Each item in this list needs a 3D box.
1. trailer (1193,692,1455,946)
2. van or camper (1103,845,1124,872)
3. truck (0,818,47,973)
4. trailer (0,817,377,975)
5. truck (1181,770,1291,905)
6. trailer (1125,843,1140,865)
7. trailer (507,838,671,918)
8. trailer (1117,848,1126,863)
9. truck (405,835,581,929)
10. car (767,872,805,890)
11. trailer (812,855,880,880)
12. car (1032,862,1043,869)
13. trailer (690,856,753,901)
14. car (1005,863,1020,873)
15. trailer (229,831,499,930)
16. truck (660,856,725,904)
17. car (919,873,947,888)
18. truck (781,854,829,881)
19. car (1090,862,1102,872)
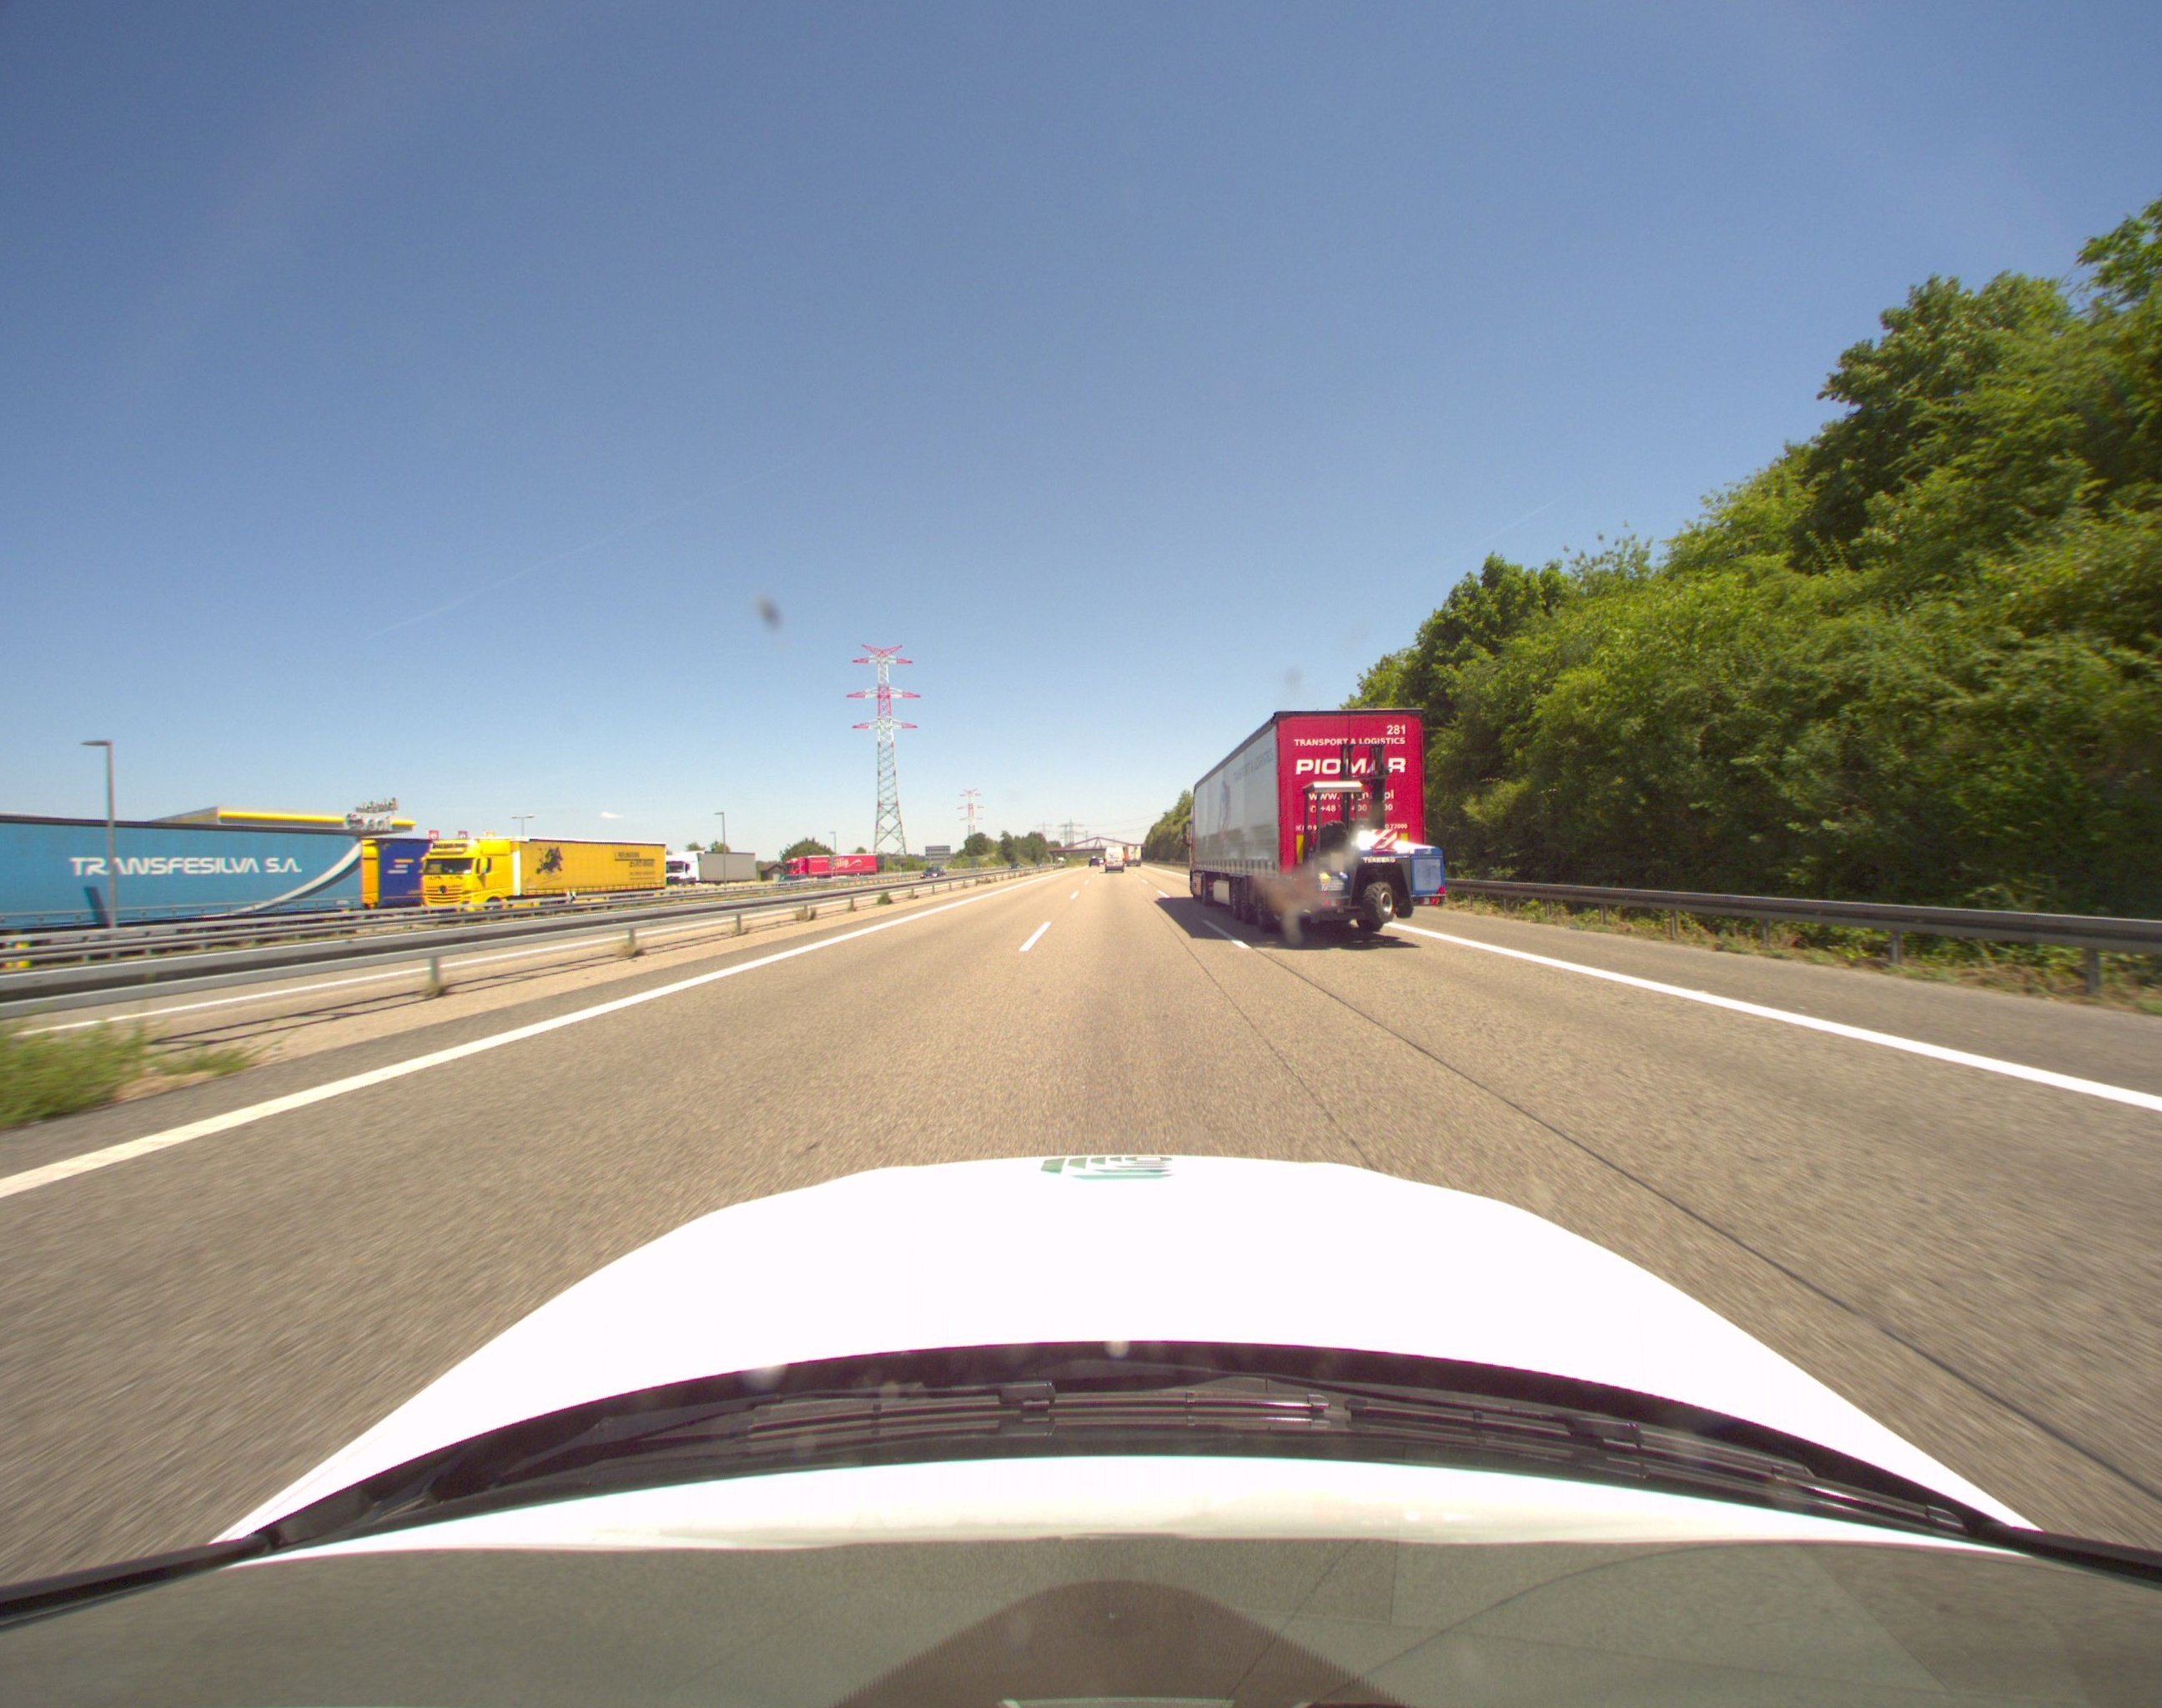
[{"bbox_3d":[4.748,-0.499,19.791,2.481,3.909,14.250,-1,0,2],"label":"trailer"},{"bbox_3d":[3.514,0.509,88.201,2.221,2.782,5.425,0,0,2],"label":"van or camper"},{"bbox_3d":[-29.851,1.063,18.765,2.839,4.073,7.090,0,0,1],"label":"truck"},{"bbox_3d":[-29.697,1.138,26.519,2.823,4.148,12.085,0,0,1],"label":"trailer"},{"bbox_3d":[4.976,-0.456,27.382,2.490,3.920,7.099,-1,-1,2],"label":"truck"},{"bbox_3d":[9.817,0.048,155.763,2.626,4.060,12.375,0,0,3],"label":"trailer"},{"bbox_3d":[-28.695,1.314,48.441,2.823,4.220,11.084,0,0,1],"label":"trailer"},{"bbox_3d":[10.970,0.409,220.610,2.626,3.897,7.074,0,0,3],"label":"trailer"},{"bbox_3d":[-28.828,1.275,40.499,2.823,4.200,7.920,0,0,1],"label":"truck"},{"bbox_3d":[-27.406,2.502,75.783,1.805,1.489,4.510,0,0,2],"label":"car"},{"bbox_3d":[-39.184,2.158,136.468,3.090,4.055,11.385,0,-1,36],"label":"trailer"},{"bbox_3d":[-9.771,2.493,183.395,1.862,1.398,4.548,-4,-1,2],"label":"car"},{"bbox_3d":[-41.002,2.665,93.261,3.293,4.875,9.673,0,0,-3],"label":"trailer"},{"bbox_3d":[-11.341,2.364,134.942,1.965,1.647,5.018,0,0,2],"label":"car"},{"bbox_3d":[-34.048,1.166,39.705,2.821,4.148,11.091,0,0,3],"label":"trailer"},{"bbox_3d":[-40.725,2.627,85.692,3.293,4.850,7.618,0,0,-2],"label":"truck"},{"bbox_3d":[-14.279,2.535,78.749,1.735,1.276,4.320,-5,-1,2],"label":"car"},{"bbox_3d":[-43.914,2.116,129.736,3.087,4.049,6.687,0,-1,36],"label":"truck"},{"bbox_3d":[2.853,2.483,156.100,1.973,1.817,3.816,0,0,4],"label":"car"}]
